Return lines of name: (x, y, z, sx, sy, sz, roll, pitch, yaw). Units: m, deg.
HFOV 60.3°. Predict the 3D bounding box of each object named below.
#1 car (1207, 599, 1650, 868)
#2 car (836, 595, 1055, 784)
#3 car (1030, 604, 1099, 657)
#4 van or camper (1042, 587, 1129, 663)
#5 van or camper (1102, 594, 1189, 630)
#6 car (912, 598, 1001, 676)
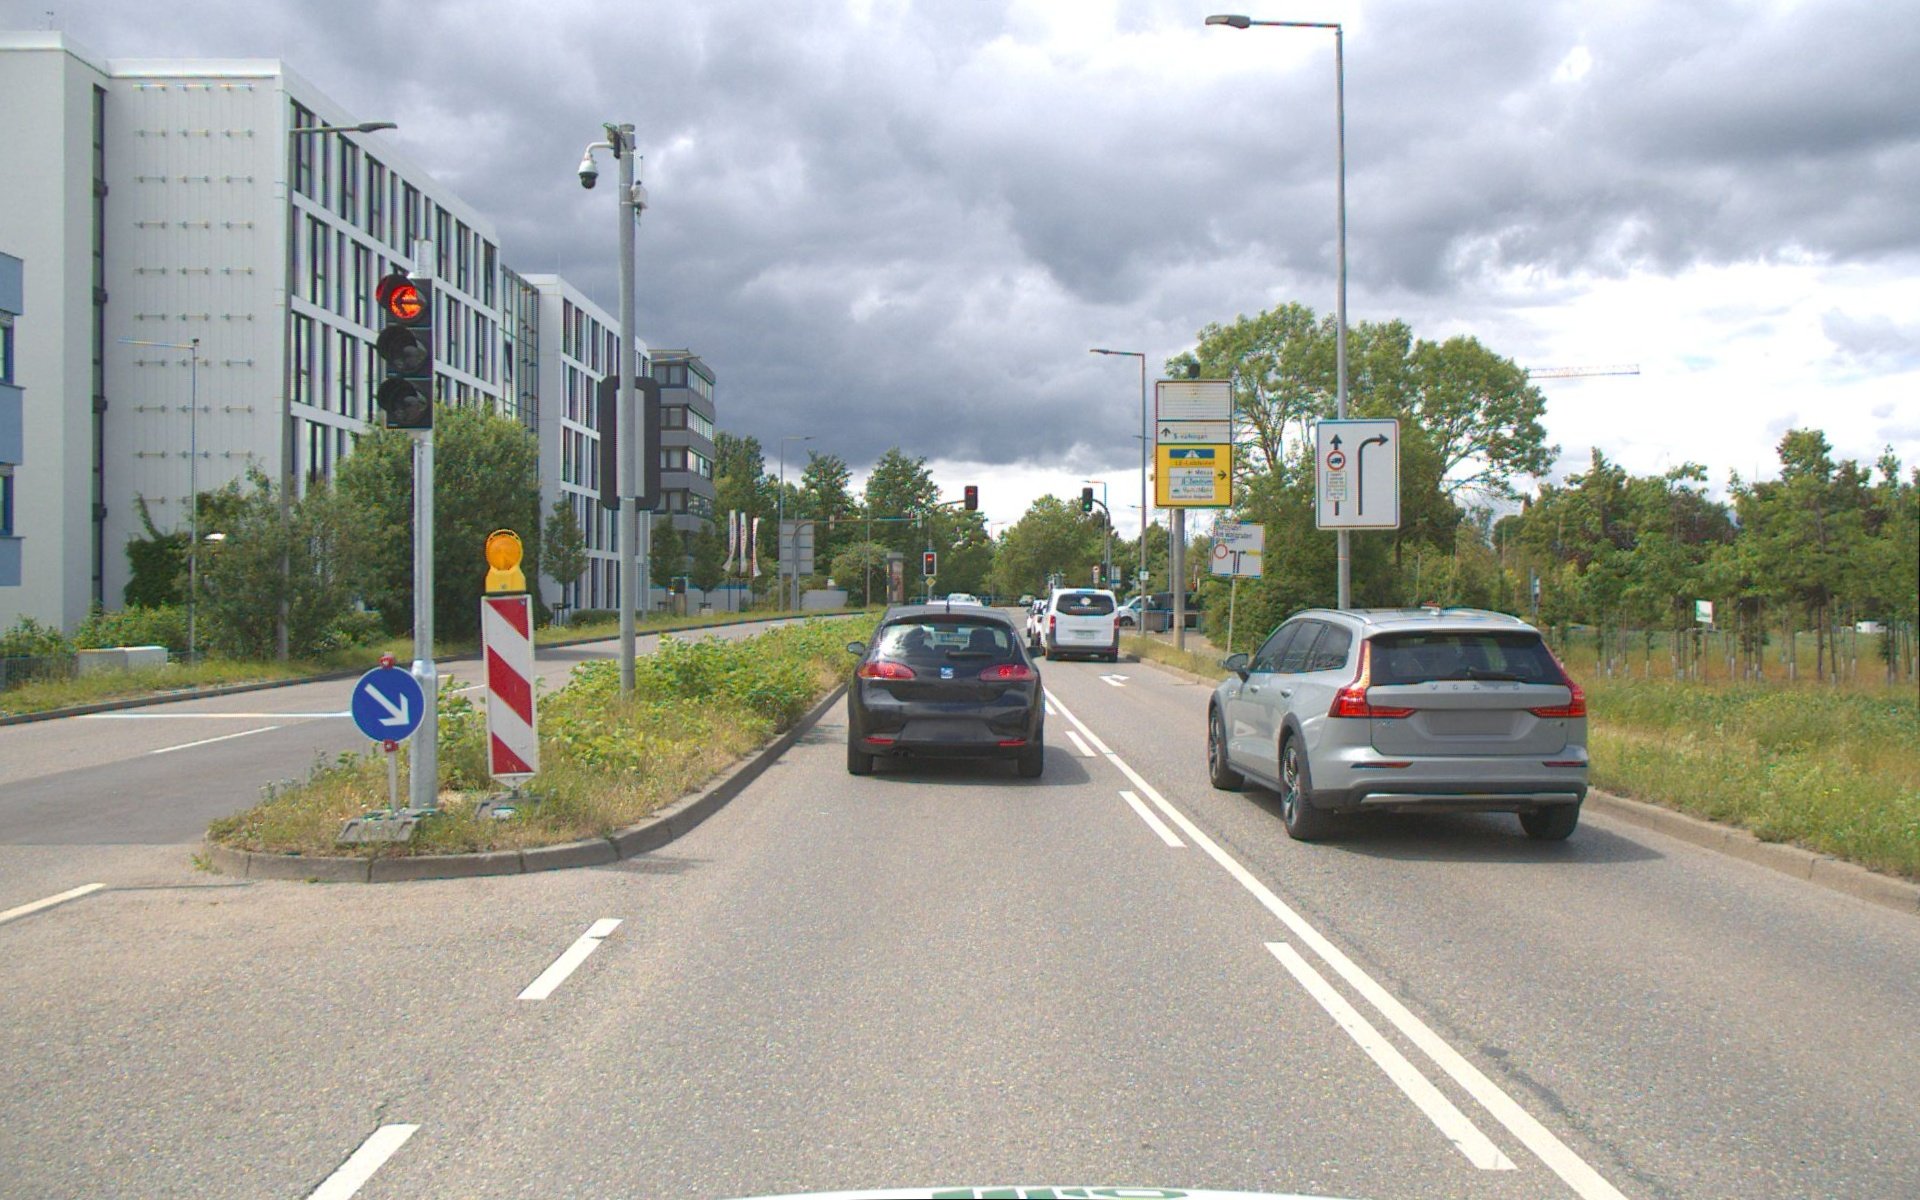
car: (3.070, 0.777, 11.872, 1.825, 1.545, 4.445, 0, 0, -1)
car: (-0.070, 0.722, 15.203, 1.736, 1.477, 3.583, 2, 0, 2)
car: (3.397, 0.984, 54.419, 1.953, 1.660, 3.999, 0, 0, -1)
van or camper: (3.276, 0.623, 44.029, 1.953, 1.892, 4.943, 0, 0, 0)
van or camper: (10.610, 0.681, 94.762, 4.705, 2.049, 1.998, 0, 0, -4)
car: (-0.076, 0.725, 34.127, 1.737, 1.517, 3.582, 0, 0, -1)
